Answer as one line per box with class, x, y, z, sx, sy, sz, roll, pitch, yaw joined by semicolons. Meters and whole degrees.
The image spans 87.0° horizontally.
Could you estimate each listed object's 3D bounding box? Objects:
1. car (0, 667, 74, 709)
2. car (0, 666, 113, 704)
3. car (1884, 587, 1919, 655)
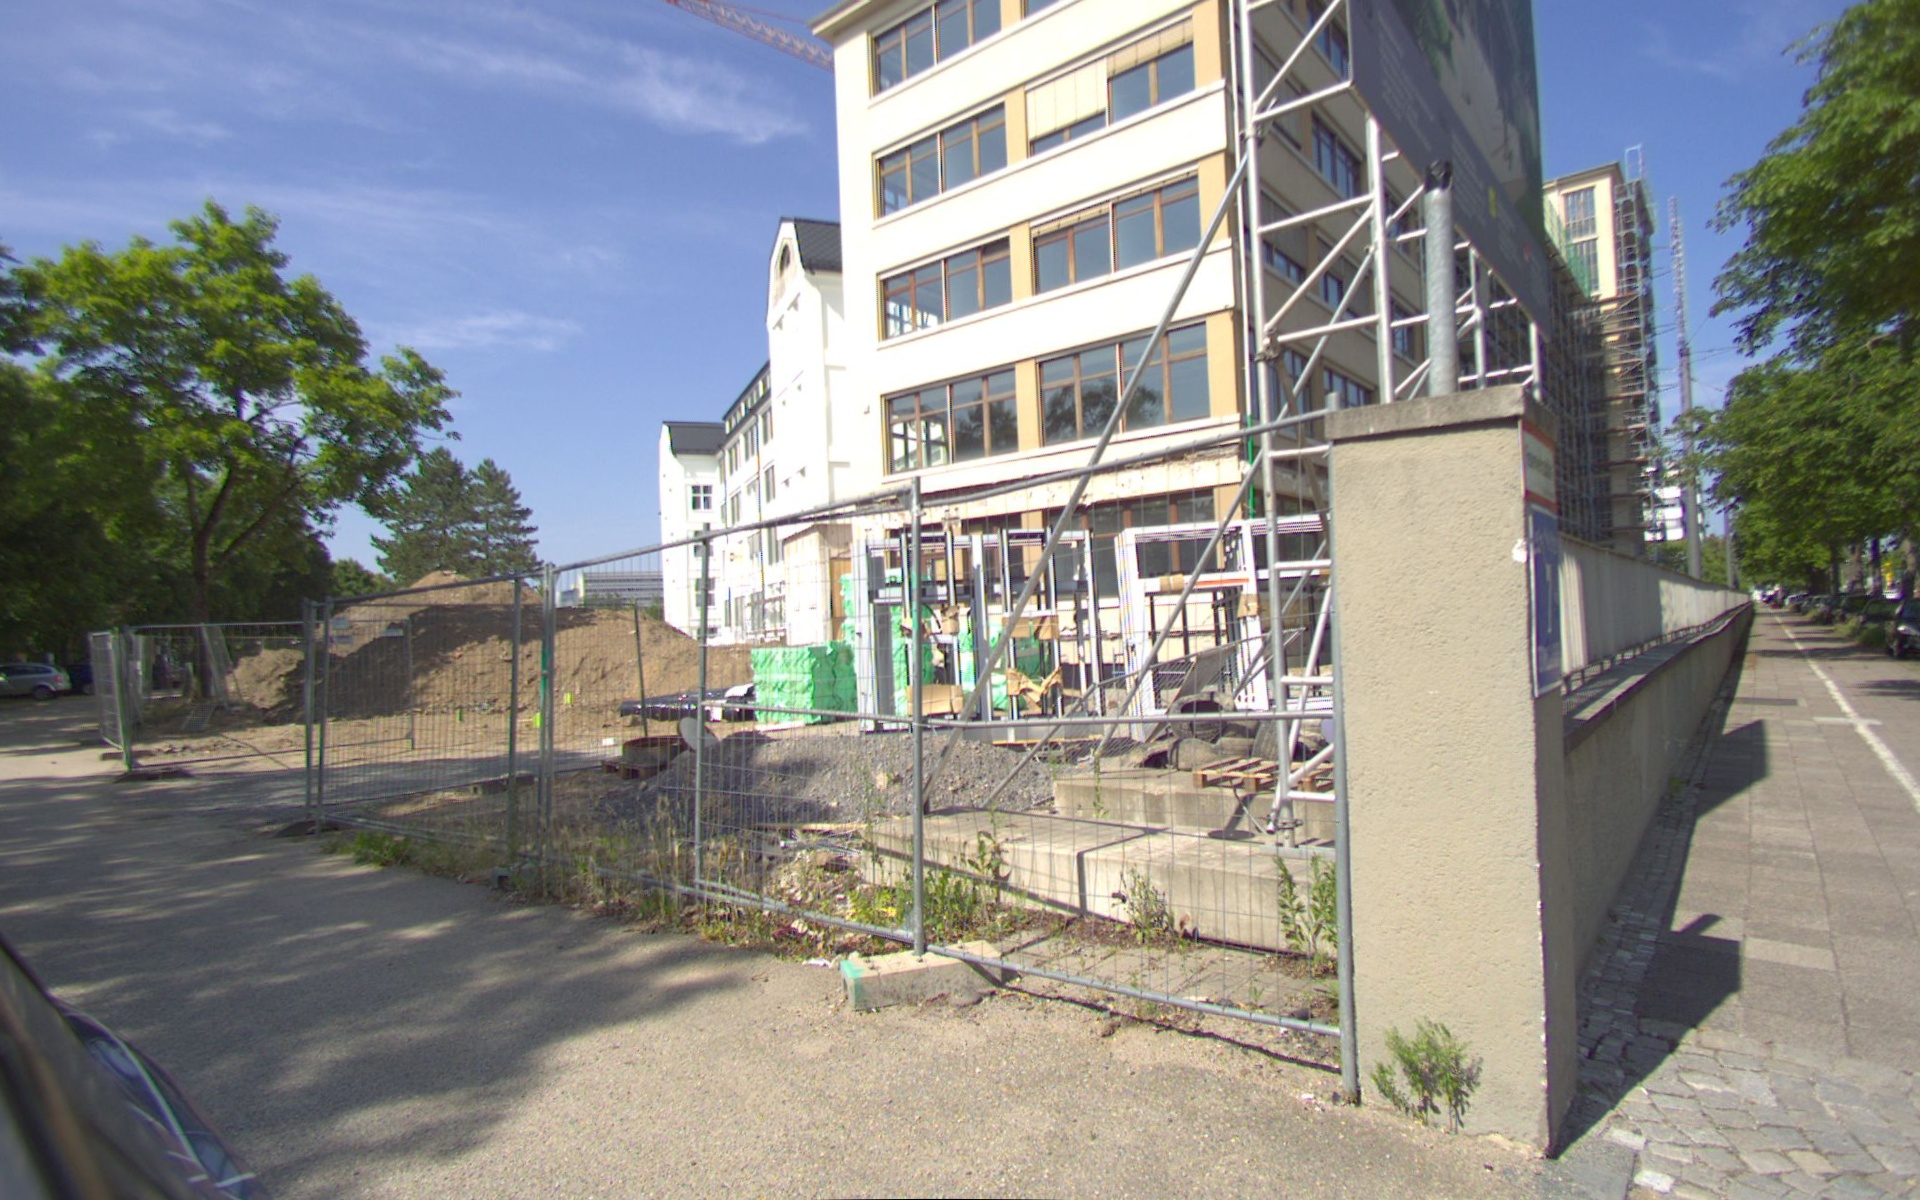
car;-38.249;3.554;40.471;3.932;1.519;2.006;-1;-2;-31
car;-40.671;3.798;45.295;3.932;1.453;2.006;-1;-2;-31
car;22.661;0.421;23.177;1.819;1.464;3.949;-4;-2;38
